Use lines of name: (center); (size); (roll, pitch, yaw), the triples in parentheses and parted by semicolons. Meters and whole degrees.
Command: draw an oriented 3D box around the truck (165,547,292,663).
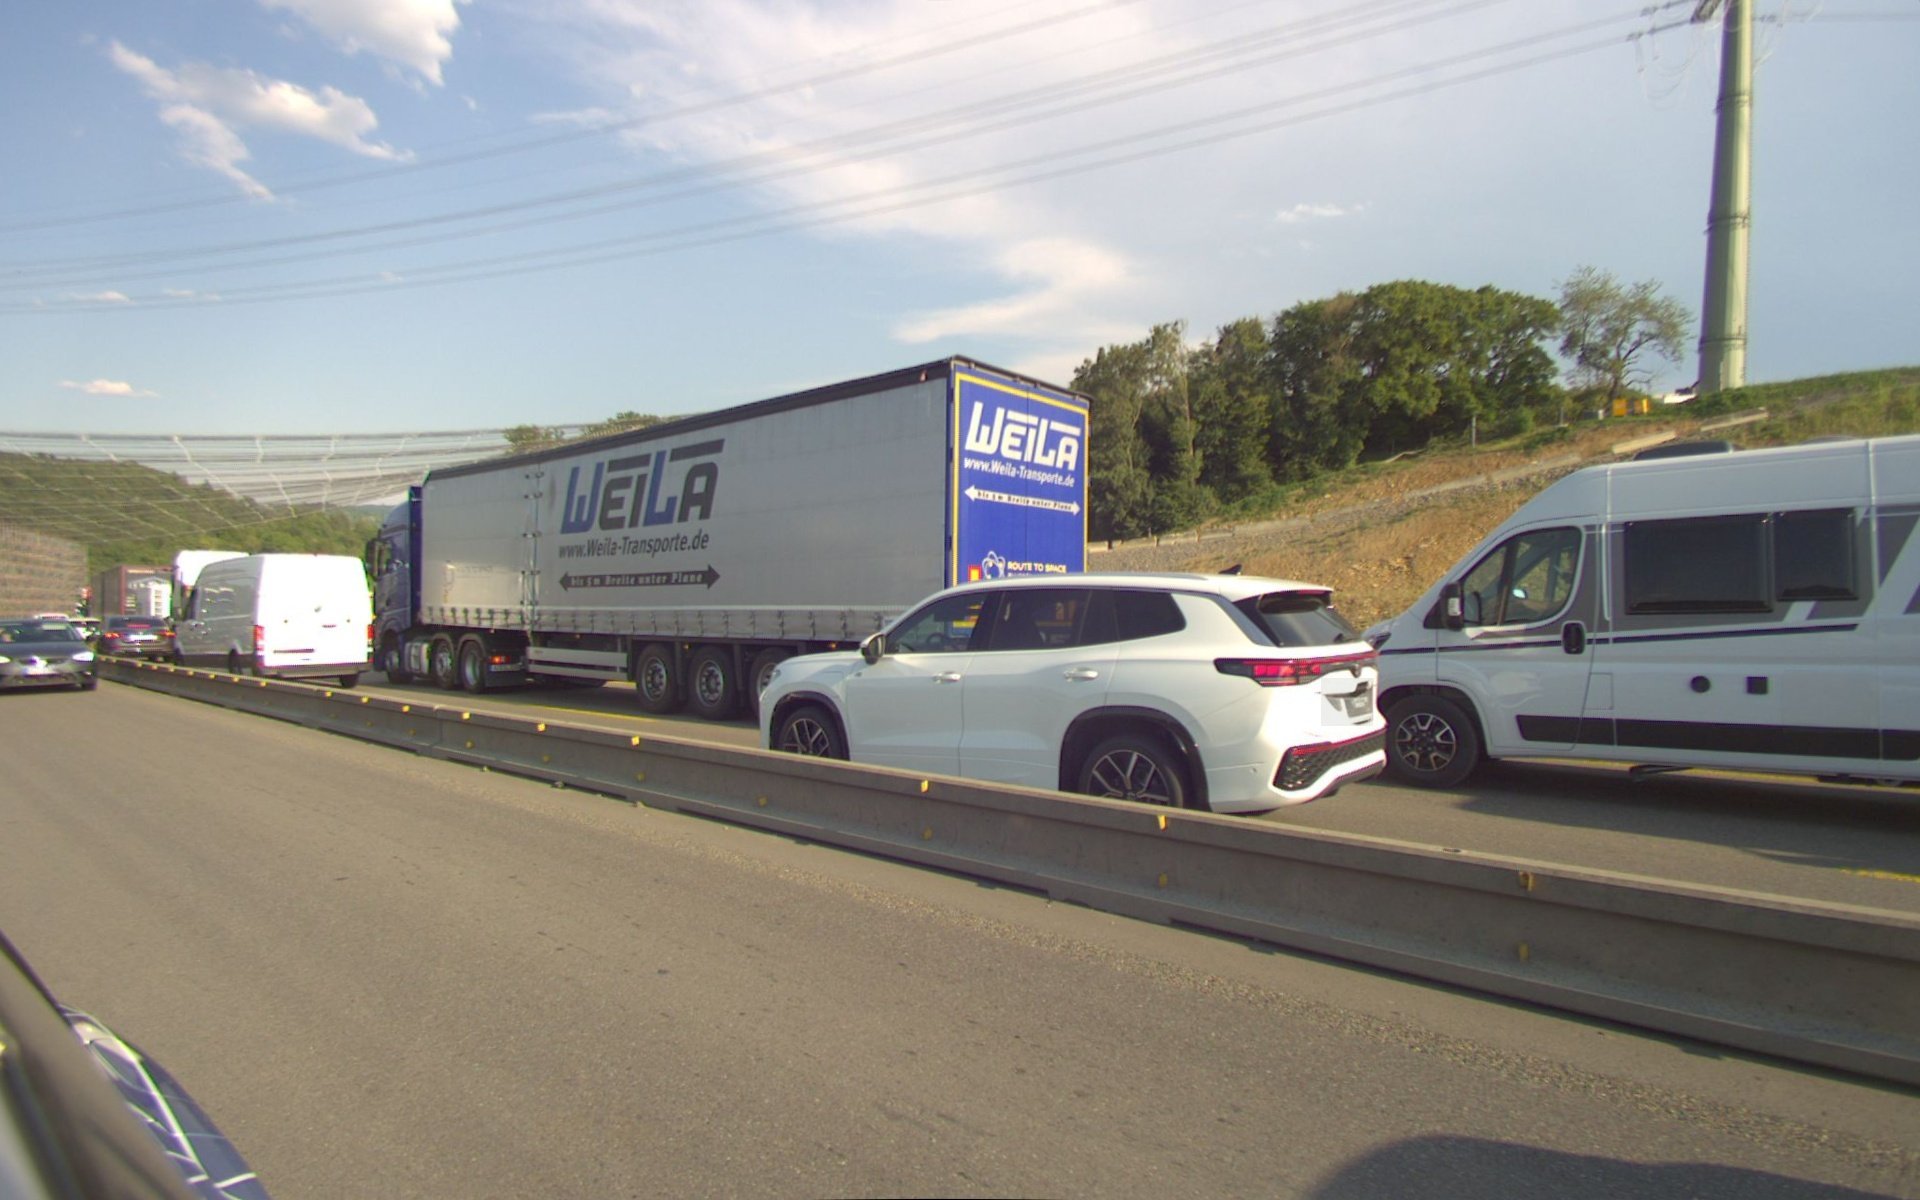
truck: (-26.147, 0.222, 36.071); (6.519, 3.782, 2.572); (-1, -1, 44)

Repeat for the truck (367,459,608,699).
truck: (-9.510, -0.309, 20.099); (5.666, 4.096, 2.475); (-1, -1, 44)

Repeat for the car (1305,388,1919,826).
car: (5.654, 0.059, 7.334); (5.584, 2.577, 2.136); (-1, -1, 40)

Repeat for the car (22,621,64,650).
car: (-57.441, 2.190, 63.394); (1.736, 1.708, 4.456); (1, -1, -45)

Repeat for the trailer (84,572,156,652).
trailer: (-49.407, 0.745, 59.426); (2.447, 4.361, 10.518); (1, -1, -44)

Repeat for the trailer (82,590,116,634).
trailer: (-83.513, 1.199, 98.106); (2.397, 3.993, 14.119); (0, -1, -41)

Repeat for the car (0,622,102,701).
car: (-18.244, 1.138, 19.788); (3.821, 1.394, 1.741); (-1, -1, 42)

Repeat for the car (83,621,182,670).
car: (-25.553, 1.350, 31.187); (4.768, 1.388, 1.740); (-1, -1, 43)

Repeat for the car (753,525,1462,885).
car: (0.745, 0.537, 7.013); (4.593, 1.707, 1.851); (-1, -1, 41)

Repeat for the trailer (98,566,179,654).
trailer: (-42.798, 0.554, 52.637); (2.415, 4.220, 8.548); (1, -1, -45)

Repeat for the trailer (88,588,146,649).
trailer: (-57.495, 1.259, 68.911); (2.279, 3.819, 12.064); (1, -1, -43)

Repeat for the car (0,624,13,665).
car: (-34.670, 1.557, 35.817); (1.651, 1.394, 3.826); (0, -1, -43)

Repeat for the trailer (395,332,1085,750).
trailer: (-4.773, -0.475, 15.752); (14.594, 4.162, 2.283); (-1, -1, 41)

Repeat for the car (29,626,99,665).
car: (-37.282, 1.840, 42.077); (4.254, 1.519, 1.740); (-1, -1, 43)

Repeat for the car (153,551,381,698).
car: (-14.093, 0.474, 20.365); (6.770, 2.519, 2.036); (-1, -1, 40)

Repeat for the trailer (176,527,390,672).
trailer: (-21.798, 0.104, 31.976); (13.978, 3.753, 2.492); (-1, -1, 43)

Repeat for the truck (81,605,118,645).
truck: (-75.100, 2.164, 88.319); (2.384, 3.396, 5.625); (0, -1, -41)

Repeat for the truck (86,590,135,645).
truck: (-61.562, 1.289, 73.310); (2.403, 3.813, 5.623); (1, -1, -43)

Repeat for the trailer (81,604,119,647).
trailer: (-71.364, 2.087, 83.916); (2.278, 3.387, 12.070); (0, -1, -41)

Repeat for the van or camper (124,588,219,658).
van or camper: (-35.673, 1.027, 45.675); (7.620, 2.913, 2.381); (-1, -1, 44)

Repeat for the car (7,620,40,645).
car: (-75.728, 2.628, 81.822); (1.796, 1.940, 4.839); (1, -1, -44)
